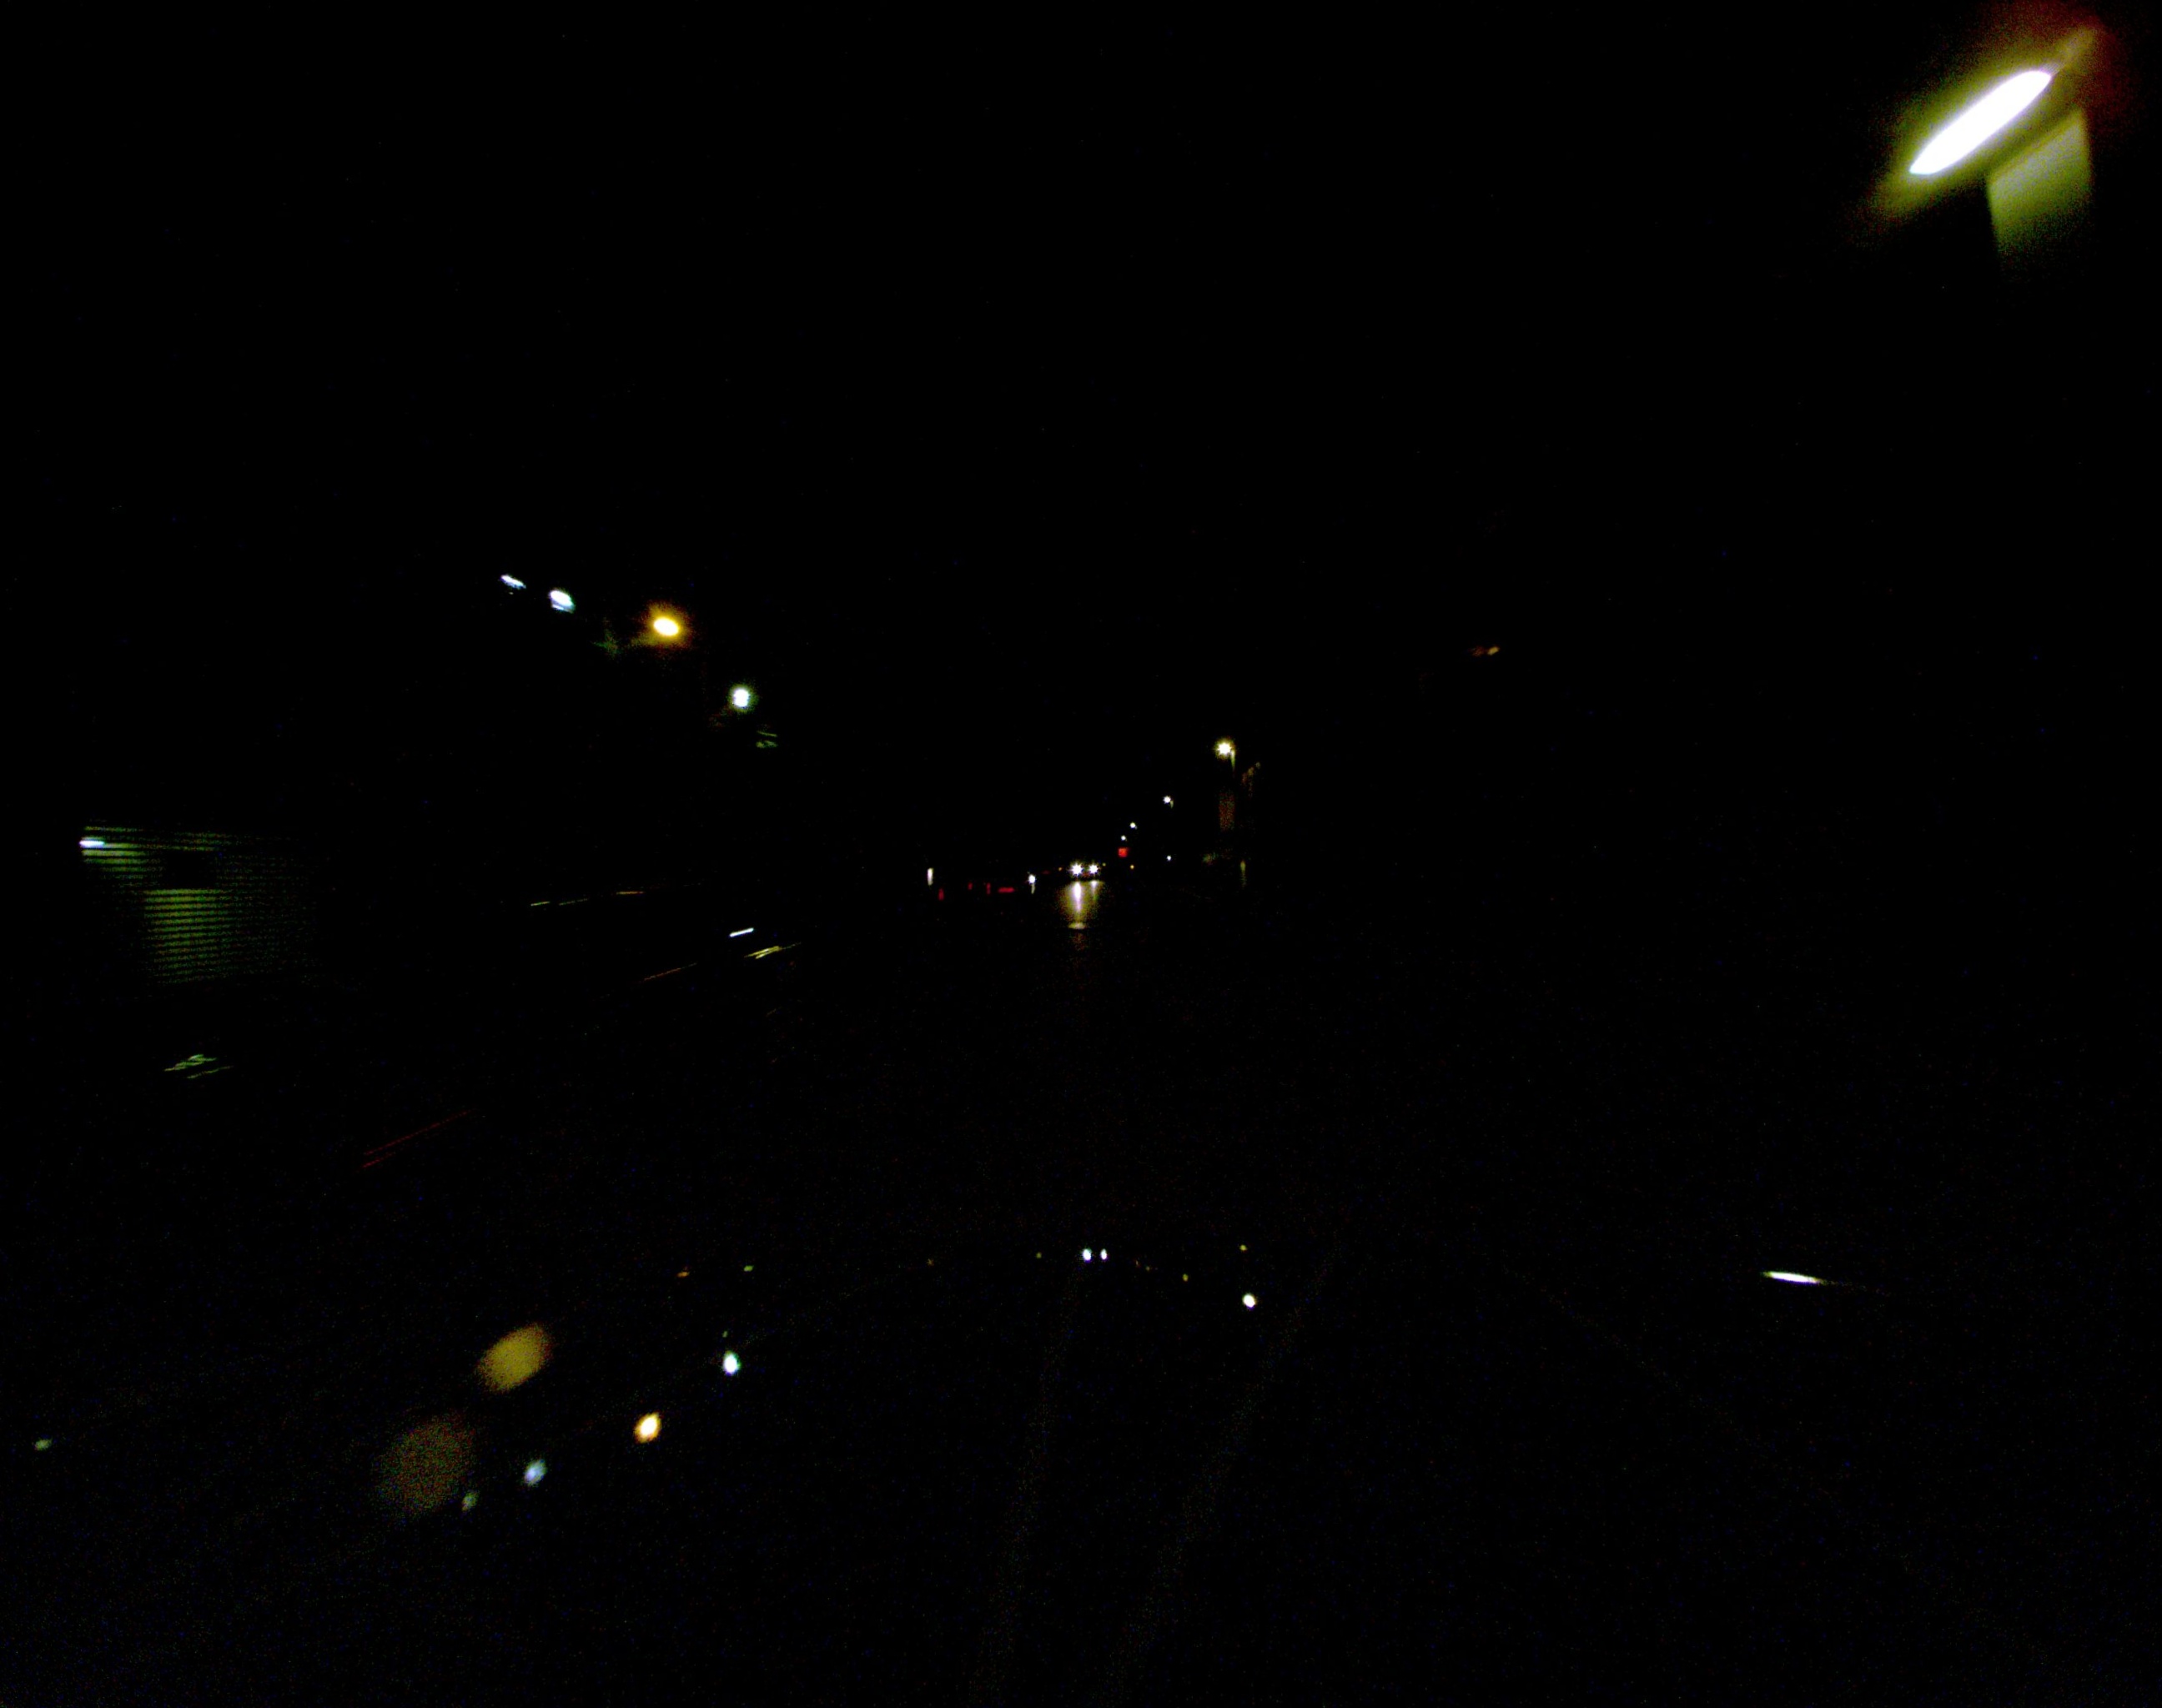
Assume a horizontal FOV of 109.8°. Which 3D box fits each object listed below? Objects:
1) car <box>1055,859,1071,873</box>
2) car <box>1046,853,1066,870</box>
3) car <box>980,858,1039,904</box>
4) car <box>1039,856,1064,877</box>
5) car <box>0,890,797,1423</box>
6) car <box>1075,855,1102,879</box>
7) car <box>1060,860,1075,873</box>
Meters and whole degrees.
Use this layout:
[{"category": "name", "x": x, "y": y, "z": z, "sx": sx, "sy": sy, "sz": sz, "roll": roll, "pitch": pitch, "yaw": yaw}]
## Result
[{"category": "car", "x": -2.042, "y": 1.325, "z": 86.012, "sx": 1.702, "sy": 1.447, "sz": 3.713, "roll": -2, "pitch": 0, "yaw": 0}, {"category": "car", "x": -2.256, "y": 0.693, "z": 70.074, "sx": 1.702, "sy": 1.447, "sz": 3.713, "roll": -2, "pitch": 0, "yaw": 0}, {"category": "car", "x": -2.470, "y": 0.914, "z": 27.076, "sx": 1.702, "sy": 1.447, "sz": 3.713, "roll": -2, "pitch": 0, "yaw": 0}, {"category": "car", "x": -2.185, "y": 0.925, "z": 57.206, "sx": 1.702, "sy": 1.447, "sz": 3.713, "roll": -2, "pitch": 0, "yaw": 0}, {"category": "car", "x": -3.064, "y": 1.049, "z": 4.156, "sx": 1.656, "sy": 1.465, "sz": 3.517, "roll": -2, "pitch": 0, "yaw": 0}, {"category": "car", "x": 0.455, "y": 0.834, "z": 50.174, "sx": 1.627, "sy": 1.495, "sz": 3.550, "roll": -2, "pitch": 0, "yaw": 0}, {"category": "car", "x": -1.627, "y": 1.507, "z": 90.591, "sx": 1.702, "sy": 1.447, "sz": 3.713, "roll": -2, "pitch": 0, "yaw": 0}]
